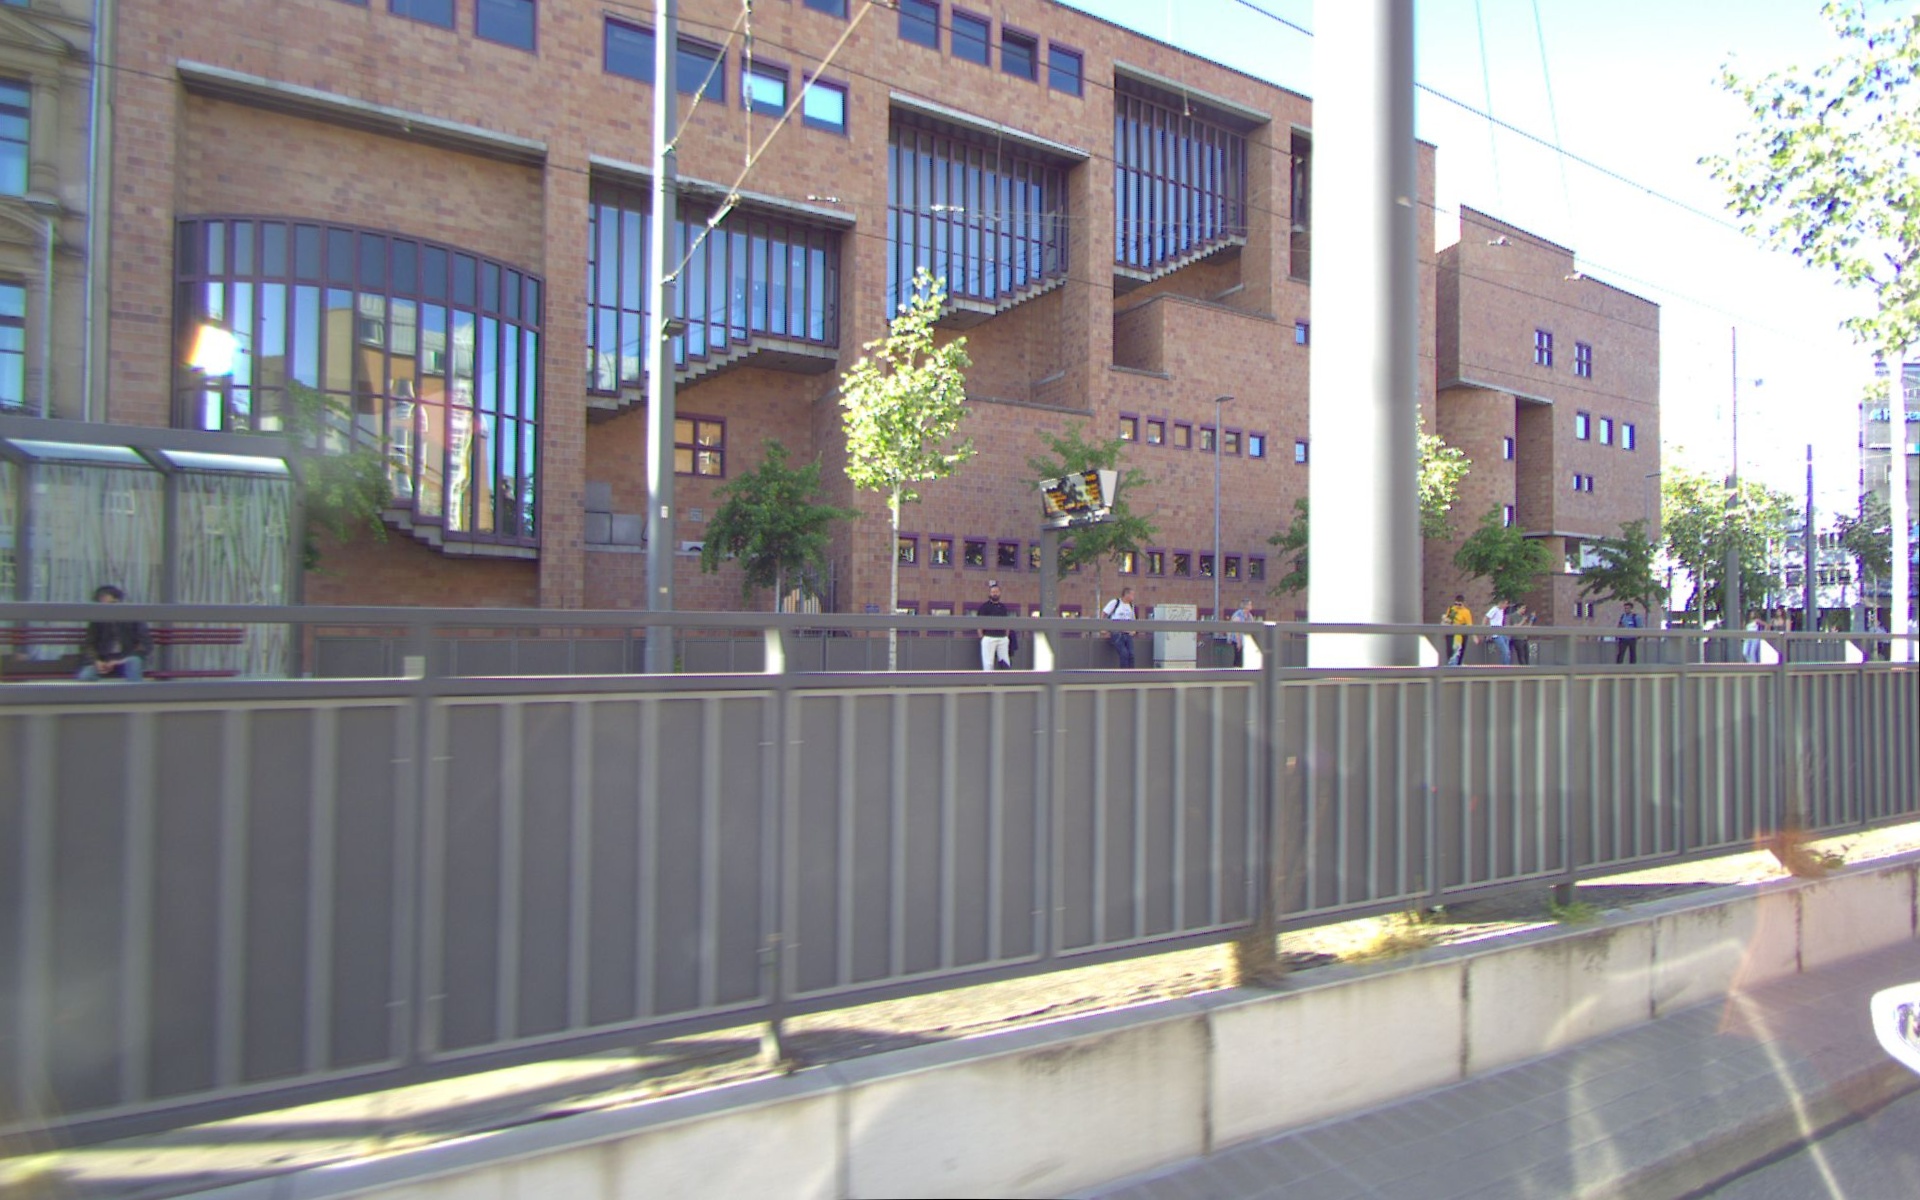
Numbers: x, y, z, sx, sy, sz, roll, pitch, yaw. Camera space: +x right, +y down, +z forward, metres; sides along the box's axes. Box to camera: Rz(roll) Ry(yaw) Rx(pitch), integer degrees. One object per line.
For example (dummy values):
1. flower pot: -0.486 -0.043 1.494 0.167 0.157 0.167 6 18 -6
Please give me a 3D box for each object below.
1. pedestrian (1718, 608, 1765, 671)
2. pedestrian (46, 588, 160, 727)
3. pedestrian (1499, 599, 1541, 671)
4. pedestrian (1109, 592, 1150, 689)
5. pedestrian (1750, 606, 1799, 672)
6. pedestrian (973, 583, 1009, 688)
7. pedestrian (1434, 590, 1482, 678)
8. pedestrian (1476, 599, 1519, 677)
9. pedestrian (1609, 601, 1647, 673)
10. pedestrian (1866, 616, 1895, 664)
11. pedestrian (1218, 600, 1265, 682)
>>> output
1. pedestrian: 20.521 1.028 26.374 0.934 1.629 0.637 1 0 -29
2. pedestrian: -8.580 0.575 10.087 0.713 1.326 0.643 1 -3 -29
3. pedestrian: 12.996 0.803 23.326 0.608 1.633 0.620 1 0 -28
4. pedestrian: 2.926 0.686 17.348 0.546 1.643 0.376 1 1 -29
5. pedestrian: 20.859 0.992 25.720 0.934 1.665 0.637 1 0 -29
6. pedestrian: 0.498 0.565 16.161 0.411 1.670 0.376 1 1 -28
7. pedestrian: 9.905 0.659 19.968 0.534 1.718 0.637 1 1 -28
8. pedestrian: 12.243 0.862 22.890 0.608 1.737 0.620 1 0 -28
9. pedestrian: 16.814 0.924 25.296 0.608 1.761 0.579 1 0 -28
10. pedestrian: 31.377 1.355 34.244 0.608 1.630 0.561 1 0 -28
11. pedestrian: 5.217 0.753 18.620 0.634 1.479 0.537 1 0 -28
